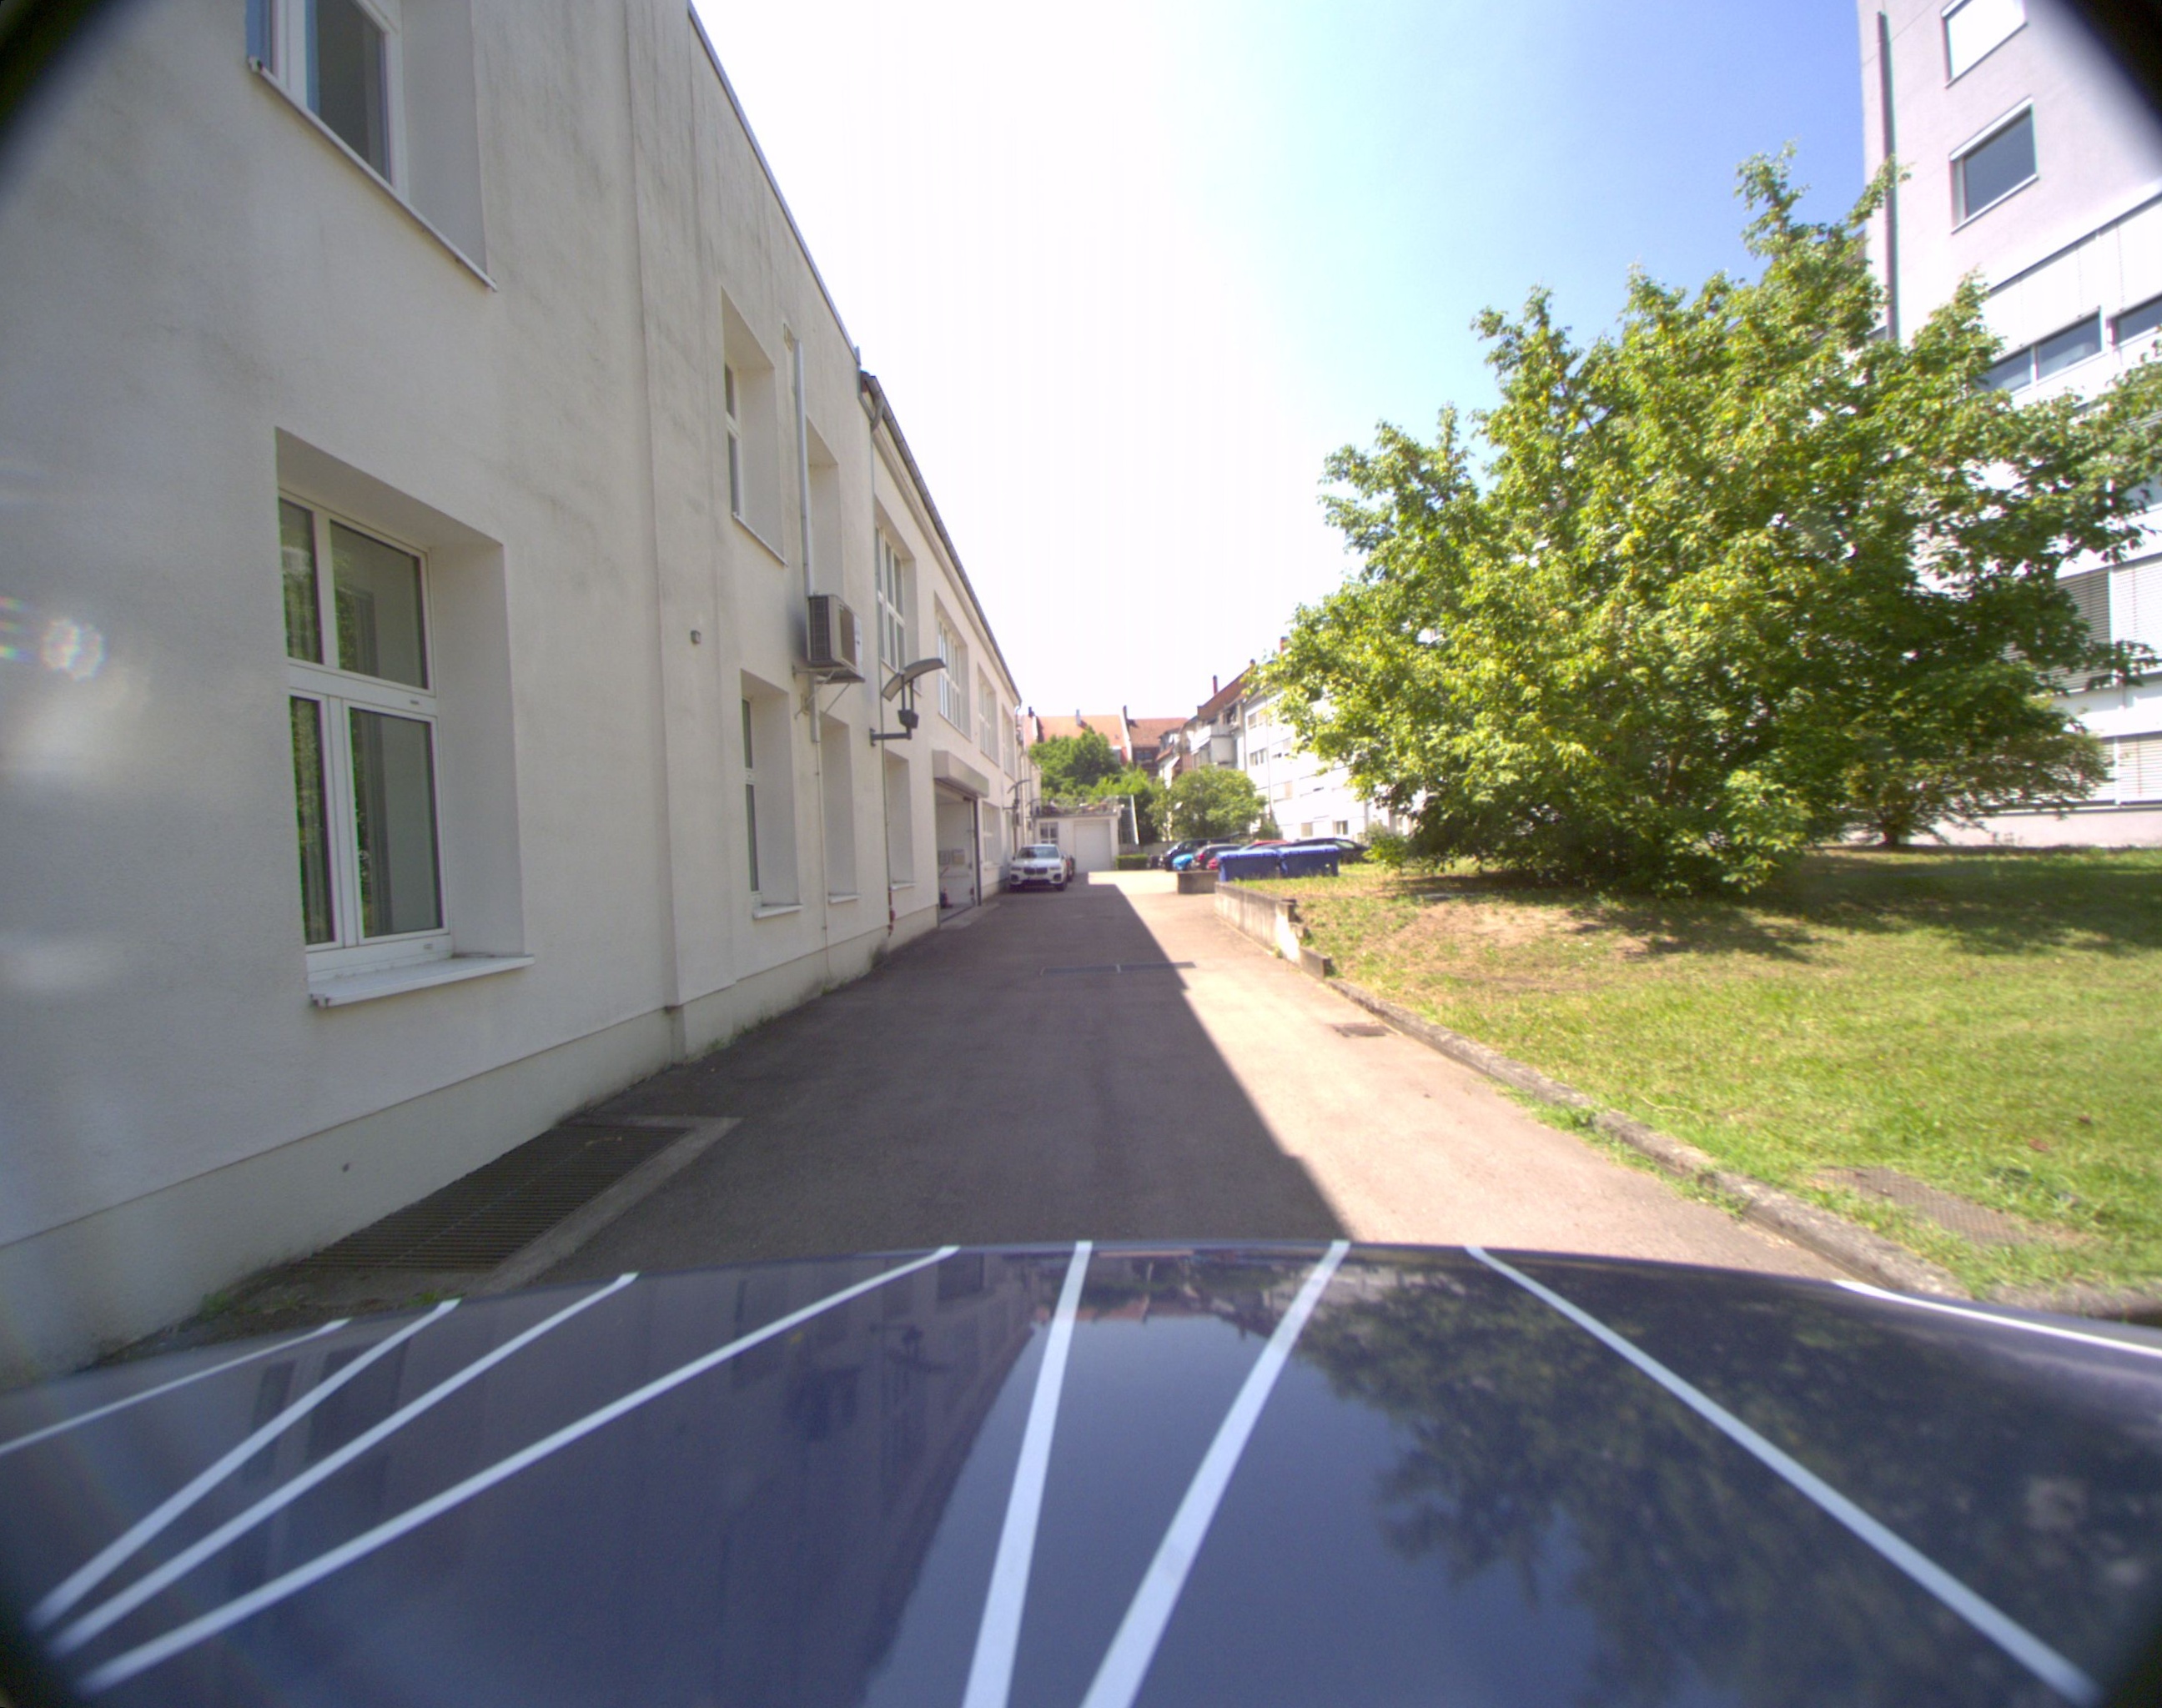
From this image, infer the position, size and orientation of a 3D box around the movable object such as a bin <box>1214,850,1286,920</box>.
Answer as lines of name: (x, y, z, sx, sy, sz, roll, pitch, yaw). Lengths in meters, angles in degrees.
movable object such as a bin: (3.590, 0.642, 16.286, 1.271, 1.381, 1.095, -2, 2, 1)

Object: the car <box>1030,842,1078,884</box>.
car: (-1.246, 0.377, 37.445, 2.011, 1.793, 4.726, -2, 1, 1)

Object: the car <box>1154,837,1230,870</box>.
car: (6.779, -0.073, 46.558, 4.223, 1.813, 2.008, -3, 2, -4)

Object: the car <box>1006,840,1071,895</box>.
car: (-1.495, 0.443, 28.645, 2.011, 1.793, 4.726, -2, 1, 1)

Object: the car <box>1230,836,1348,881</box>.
car: (8.338, 0.155, 30.616, 4.223, 1.560, 1.612, -3, 2, -4)

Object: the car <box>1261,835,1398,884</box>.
car: (9.075, 0.187, 27.897, 4.445, 1.560, 1.612, -3, 2, -4)

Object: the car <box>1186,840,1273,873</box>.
car: (7.905, 0.128, 40.548, 4.223, 1.560, 1.612, -3, 2, -4)

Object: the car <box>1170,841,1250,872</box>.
car: (7.350, 0.099, 43.616, 4.223, 1.560, 1.612, -3, 2, -4)

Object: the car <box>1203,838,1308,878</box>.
car: (7.743, 0.135, 33.932, 4.223, 1.560, 1.612, -3, 2, -4)

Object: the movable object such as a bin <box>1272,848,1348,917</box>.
movable object such as a bin: (4.888, 0.586, 16.285, 1.271, 1.381, 1.095, -2, 2, 1)
